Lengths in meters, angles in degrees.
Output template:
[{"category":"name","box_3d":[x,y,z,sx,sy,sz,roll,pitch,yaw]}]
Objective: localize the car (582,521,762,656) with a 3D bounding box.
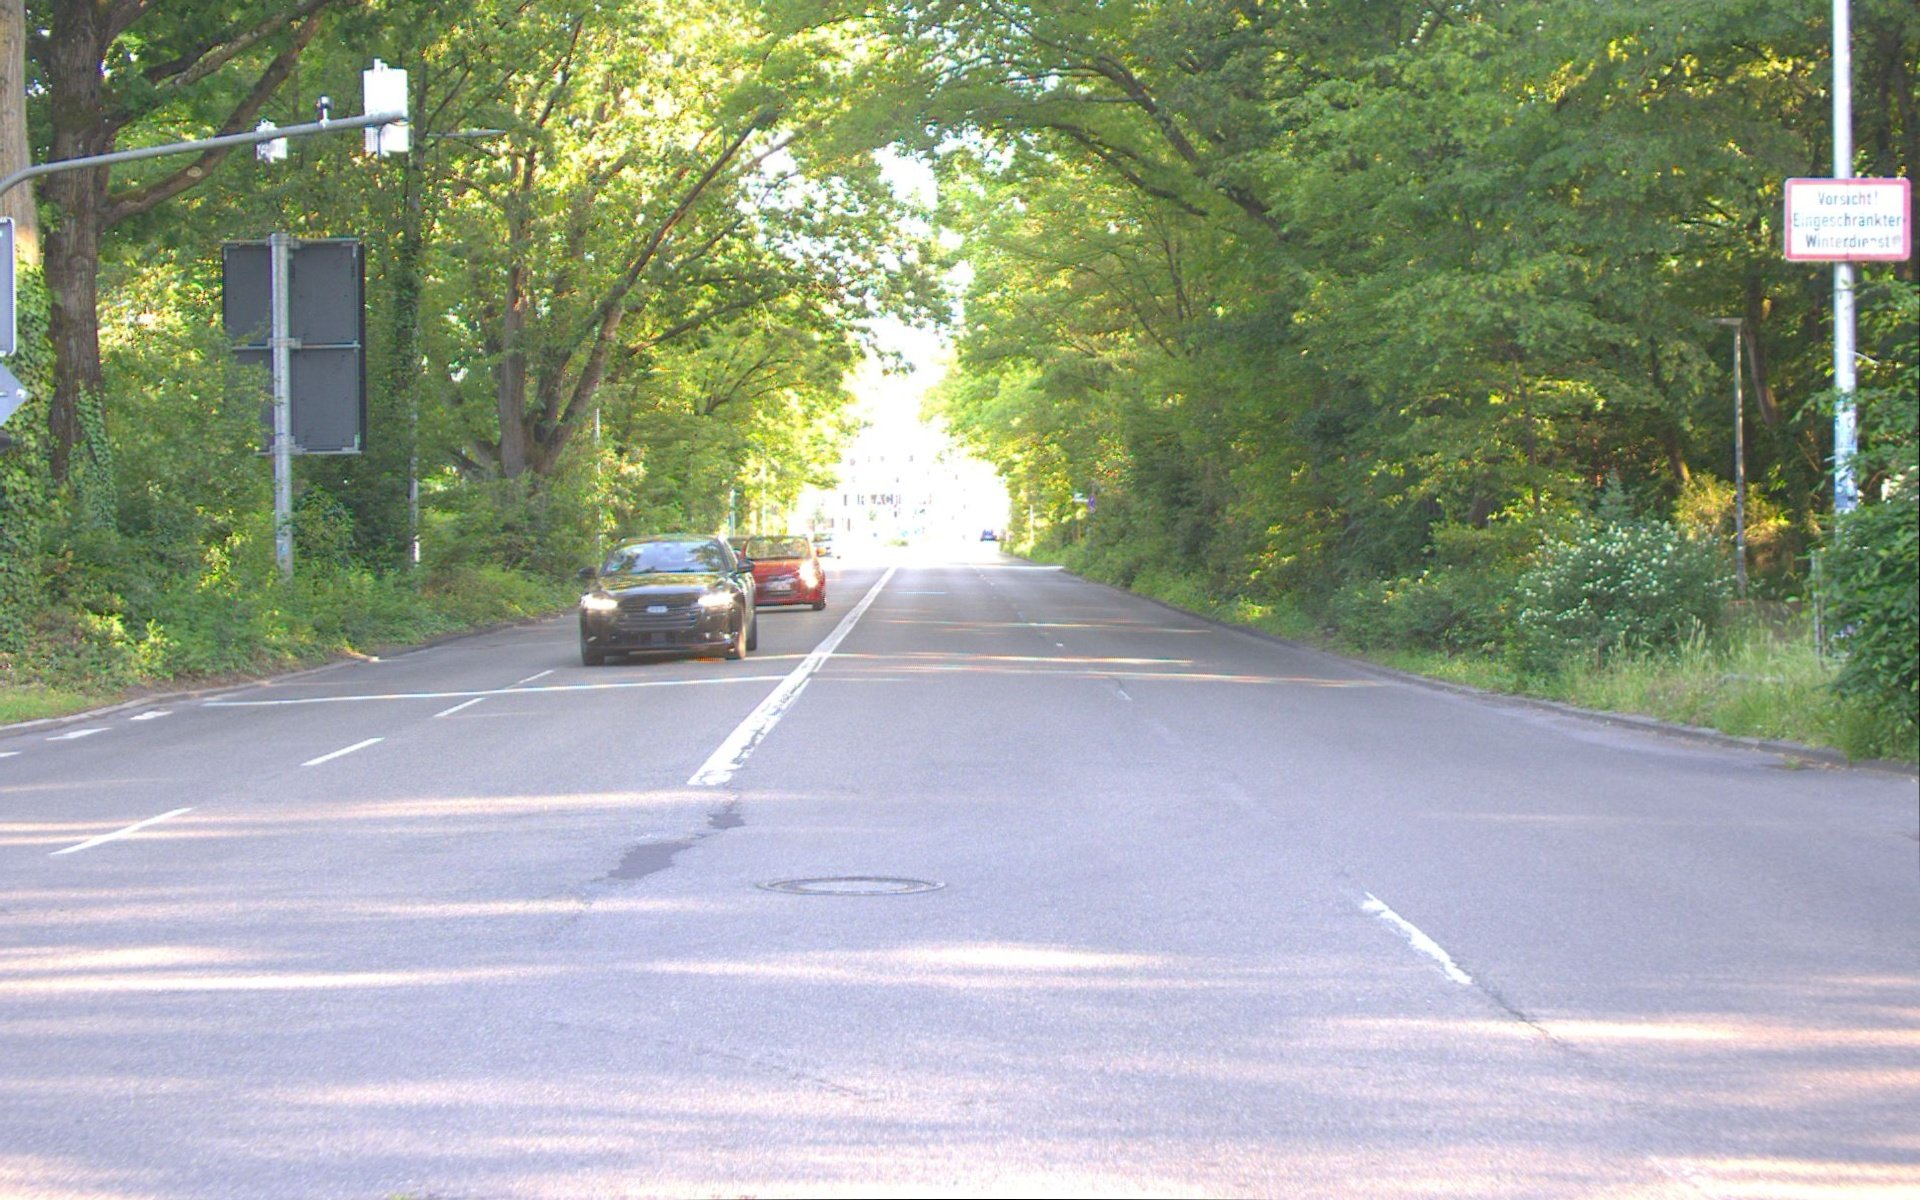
[{"category":"car","box_3d":[-3.416,-0.167,41.484,1.887,1.501,4.365,-1,1,-1]}]

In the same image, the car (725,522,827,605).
[{"category":"car","box_3d":[-3.504,-0.712,66.010,1.797,1.501,4.365,-1,1,-1]}]

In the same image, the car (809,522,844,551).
[{"category":"car","box_3d":[-7.109,-3.382,183.707,1.797,1.501,4.365,-1,1,-1]}]
